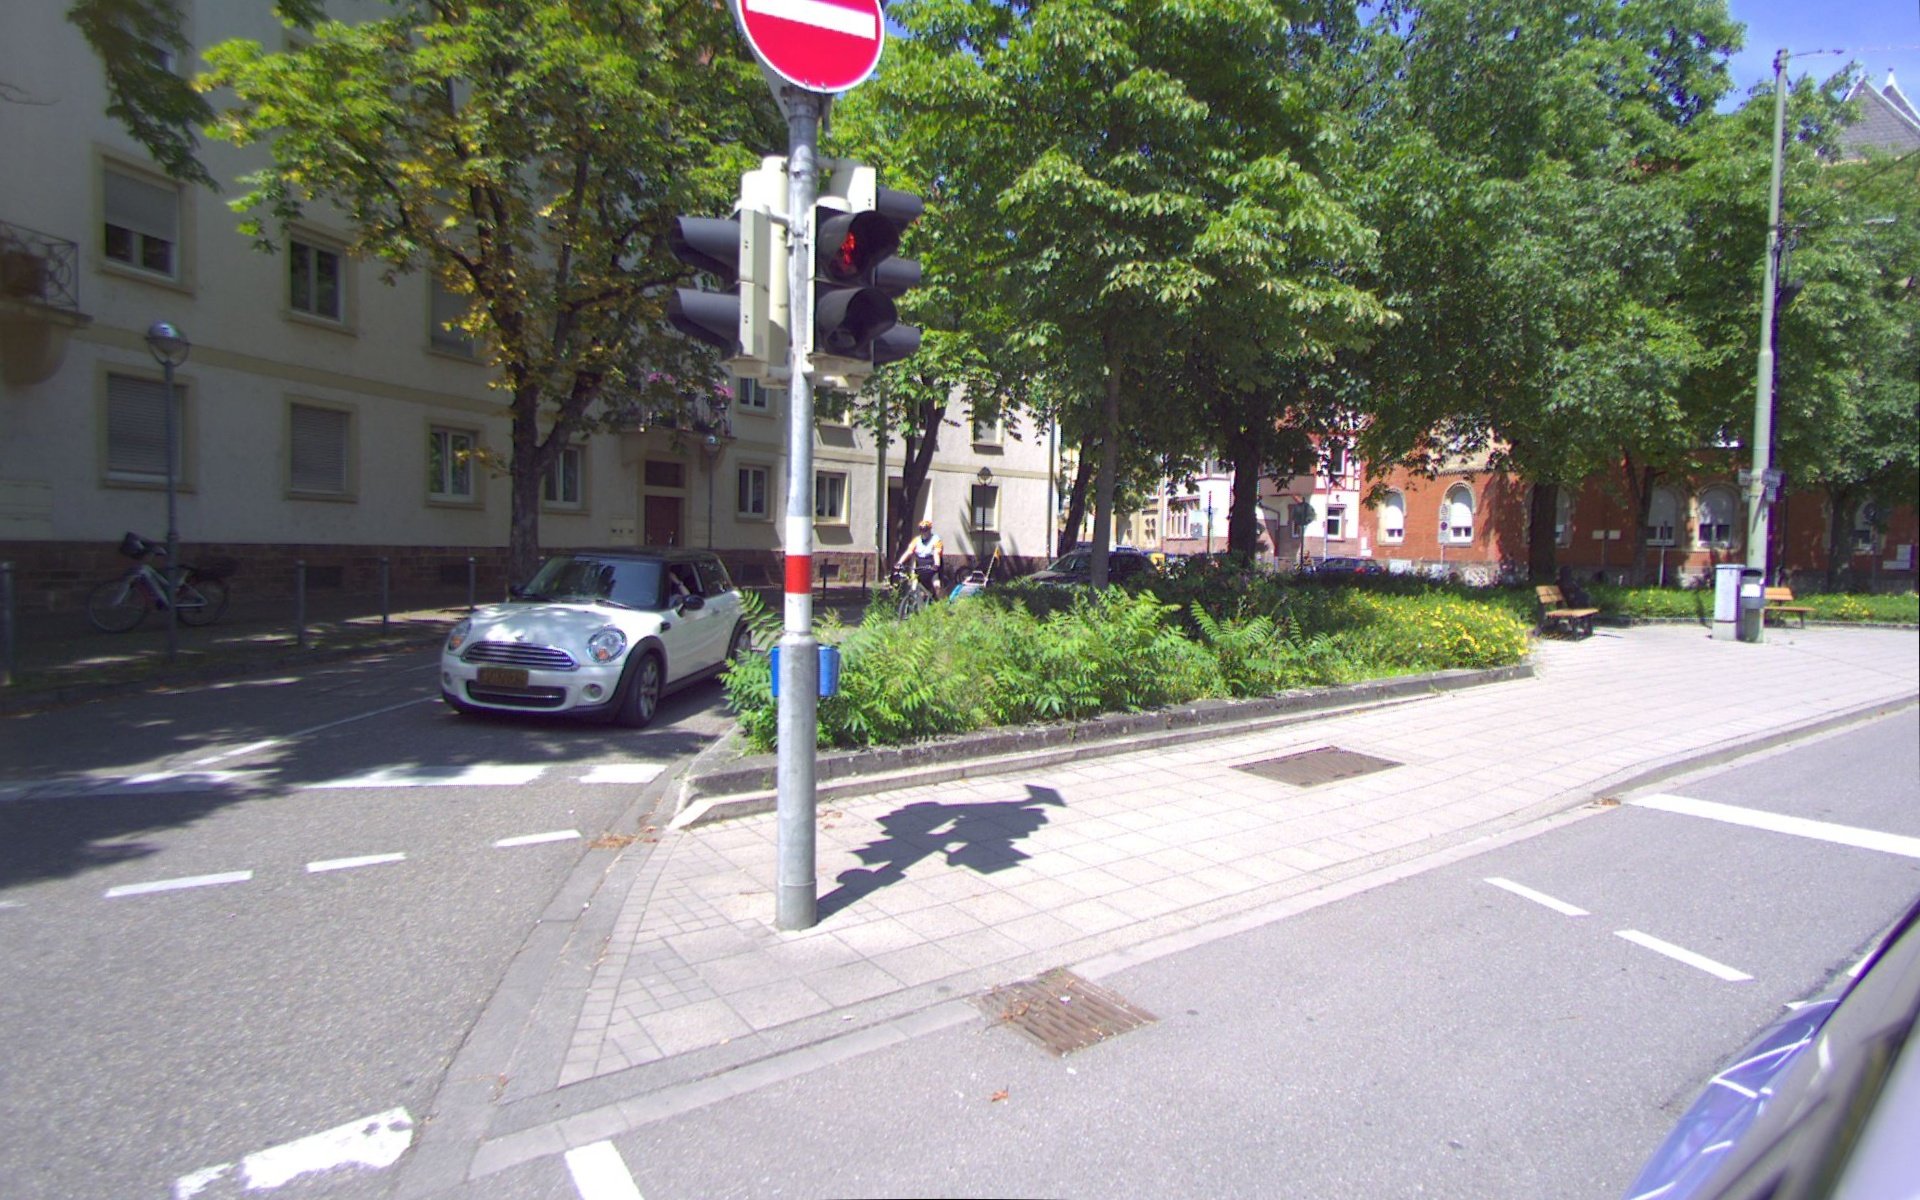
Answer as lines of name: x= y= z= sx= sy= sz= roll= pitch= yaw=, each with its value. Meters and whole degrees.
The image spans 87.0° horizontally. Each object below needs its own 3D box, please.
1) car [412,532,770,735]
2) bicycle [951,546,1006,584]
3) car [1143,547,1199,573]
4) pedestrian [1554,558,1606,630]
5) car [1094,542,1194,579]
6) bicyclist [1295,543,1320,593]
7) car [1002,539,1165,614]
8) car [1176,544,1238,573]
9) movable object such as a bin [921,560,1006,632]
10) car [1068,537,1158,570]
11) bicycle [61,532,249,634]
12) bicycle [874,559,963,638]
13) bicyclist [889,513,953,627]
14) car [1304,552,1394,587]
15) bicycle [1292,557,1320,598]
car: x=-3.131 y=0.146 z=9.380 sx=1.666 sy=1.463 sz=3.622 roll=2 pitch=3 yaw=7
bicycle: x=0.598 y=-1.106 z=32.094 sx=1.902 sy=1.169 sz=0.514 roll=-1 pitch=4 yaw=-44
car: x=13.642 y=-2.622 z=65.724 sx=1.668 sy=1.582 sz=4.257 roll=1 pitch=3 yaw=-17
pedestrian: x=10.498 y=-0.118 z=17.135 sx=0.649 sy=1.164 sz=0.634 roll=4 pitch=3 yaw=38
car: x=8.568 y=-1.825 z=47.173 sx=4.228 sy=1.582 sz=1.649 roll=1 pitch=3 yaw=-15
bicyclist: x=11.740 y=-1.088 z=34.213 sx=0.634 sy=1.643 sz=0.855 roll=3 pitch=3 yaw=26
car: x=2.963 y=-0.579 z=23.779 sx=3.999 sy=1.582 sz=1.611 roll=-1 pitch=4 yaw=-44
car: x=14.806 y=-2.532 z=60.931 sx=1.668 sy=1.582 sz=4.257 roll=1 pitch=3 yaw=-17
movable object such as a bin: x=0.090 y=-0.103 z=18.008 sx=0.859 sy=1.169 sz=1.750 roll=3 pitch=3 yaw=24
car: x=7.900 y=-2.402 z=52.327 sx=4.228 sy=1.582 sz=1.649 roll=1 pitch=3 yaw=-15
bicycle: x=-10.006 y=-0.245 z=12.666 sx=0.632 sy=1.169 sz=1.794 roll=2 pitch=3 yaw=19
bicycle: x=-0.643 y=-0.060 z=16.390 sx=0.674 sy=1.169 sz=1.790 roll=3 pitch=3 yaw=24
bicyclist: x=-0.620 y=-0.495 z=16.409 sx=0.691 sy=1.788 sz=0.857 roll=3 pitch=3 yaw=25
car: x=18.180 y=-1.467 z=47.539 sx=1.610 sy=1.469 sz=4.331 roll=1 pitch=3 yaw=-17
bicycle: x=11.717 y=-0.780 z=34.219 sx=0.634 sy=1.308 sz=1.914 roll=3 pitch=3 yaw=26
